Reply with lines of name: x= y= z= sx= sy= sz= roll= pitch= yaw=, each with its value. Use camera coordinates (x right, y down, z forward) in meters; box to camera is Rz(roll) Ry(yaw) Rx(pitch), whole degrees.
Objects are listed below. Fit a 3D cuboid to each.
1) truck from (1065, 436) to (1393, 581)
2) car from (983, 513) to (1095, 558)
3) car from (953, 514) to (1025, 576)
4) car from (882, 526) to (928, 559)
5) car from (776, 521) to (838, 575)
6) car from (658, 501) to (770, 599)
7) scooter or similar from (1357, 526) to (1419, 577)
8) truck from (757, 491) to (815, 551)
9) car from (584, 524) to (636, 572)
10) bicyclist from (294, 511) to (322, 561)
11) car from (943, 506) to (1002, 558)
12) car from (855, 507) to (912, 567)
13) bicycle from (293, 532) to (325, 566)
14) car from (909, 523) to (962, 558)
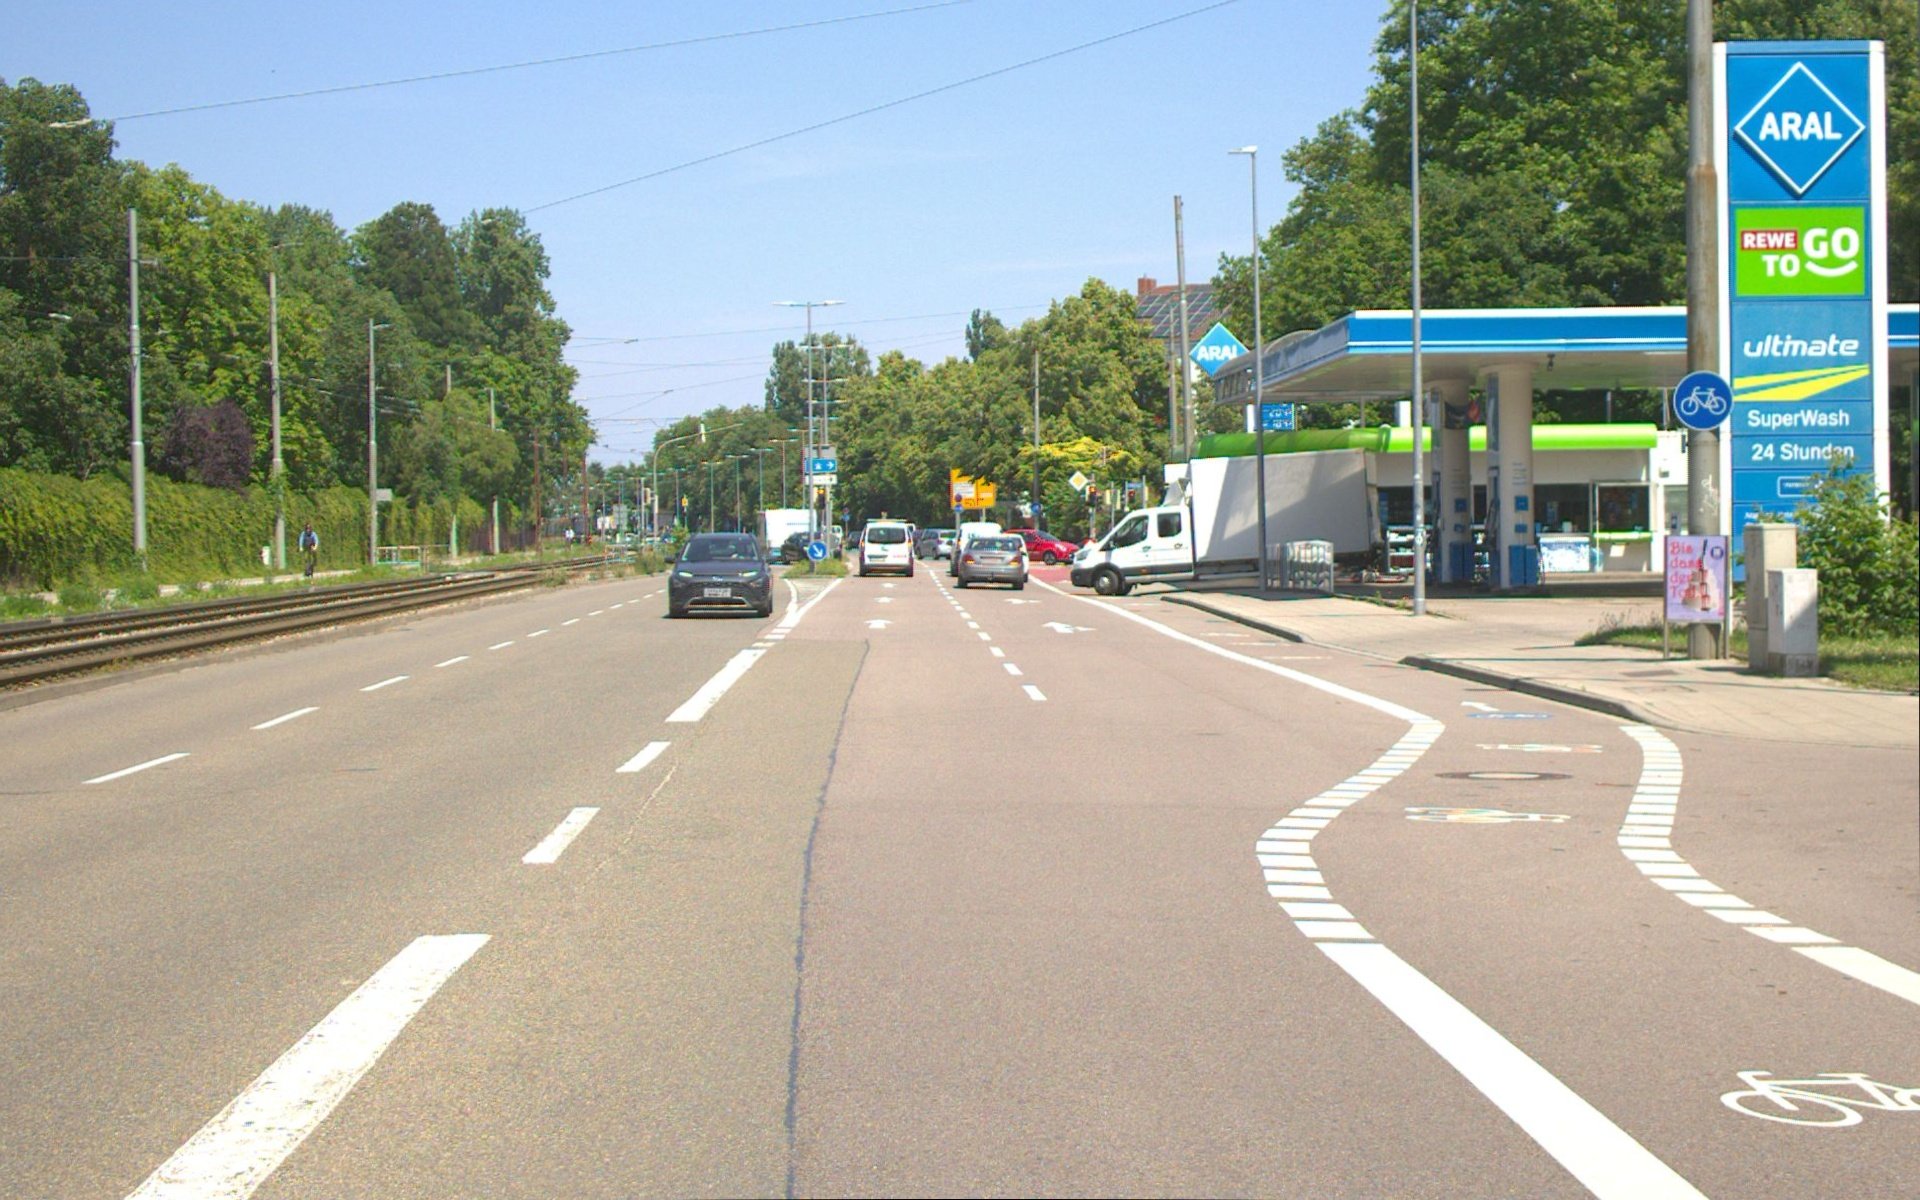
truck: x=6.852 y=-2.319 z=87.259 sx=7.973 sy=3.590 sz=2.661 roll=0 pitch=1 yaw=14
car: x=3.289 y=-2.679 z=142.730 sx=4.317 sy=1.653 sz=1.758 roll=-2 pitch=1 yaw=33
car: x=0.776 y=-1.528 z=94.976 sx=1.755 sy=1.625 sz=4.324 roll=-2 pitch=1 yaw=-2
car: x=-3.263 y=-3.395 z=203.263 sx=1.755 sy=1.833 sz=4.325 roll=-3 pitch=1 yaw=-14
car: x=-4.887 y=-1.698 z=110.439 sx=1.755 sy=1.625 sz=4.324 roll=-2 pitch=1 yaw=0
car: x=-4.376 y=-0.907 z=61.694 sx=1.755 sy=1.625 sz=4.324 roll=-2 pitch=1 yaw=-2
scooter or similar: x=11.257 y=-1.274 z=90.501 sx=1.552 sy=1.323 sz=0.537 roll=0 pitch=1 yaw=-3
truck: x=-8.111 y=-3.670 z=159.300 sx=2.533 sy=2.670 sz=11.819 roll=0 pitch=1 yaw=-4
car: x=-12.768 y=-1.901 z=125.286 sx=1.755 sy=1.625 sz=4.325 roll=-3 pitch=1 yaw=-7
bicyclist: x=-21.471 y=-2.113 z=113.264 sx=0.681 sy=1.569 sz=0.795 roll=-5 pitch=0 yaw=-3
car: x=0.401 y=-2.258 z=113.758 sx=1.755 sy=1.625 sz=4.324 roll=-2 pitch=1 yaw=-2
car: x=-2.523 y=-2.072 z=112.647 sx=1.755 sy=1.868 sz=4.324 roll=-2 pitch=1 yaw=-2
bicycle: x=-21.432 y=-1.683 z=113.260 sx=0.681 sy=1.050 sz=2.009 roll=-5 pitch=0 yaw=-3
car: x=-1.227 y=-2.951 z=171.119 sx=1.755 sy=1.625 sz=4.325 roll=-3 pitch=1 yaw=-11
